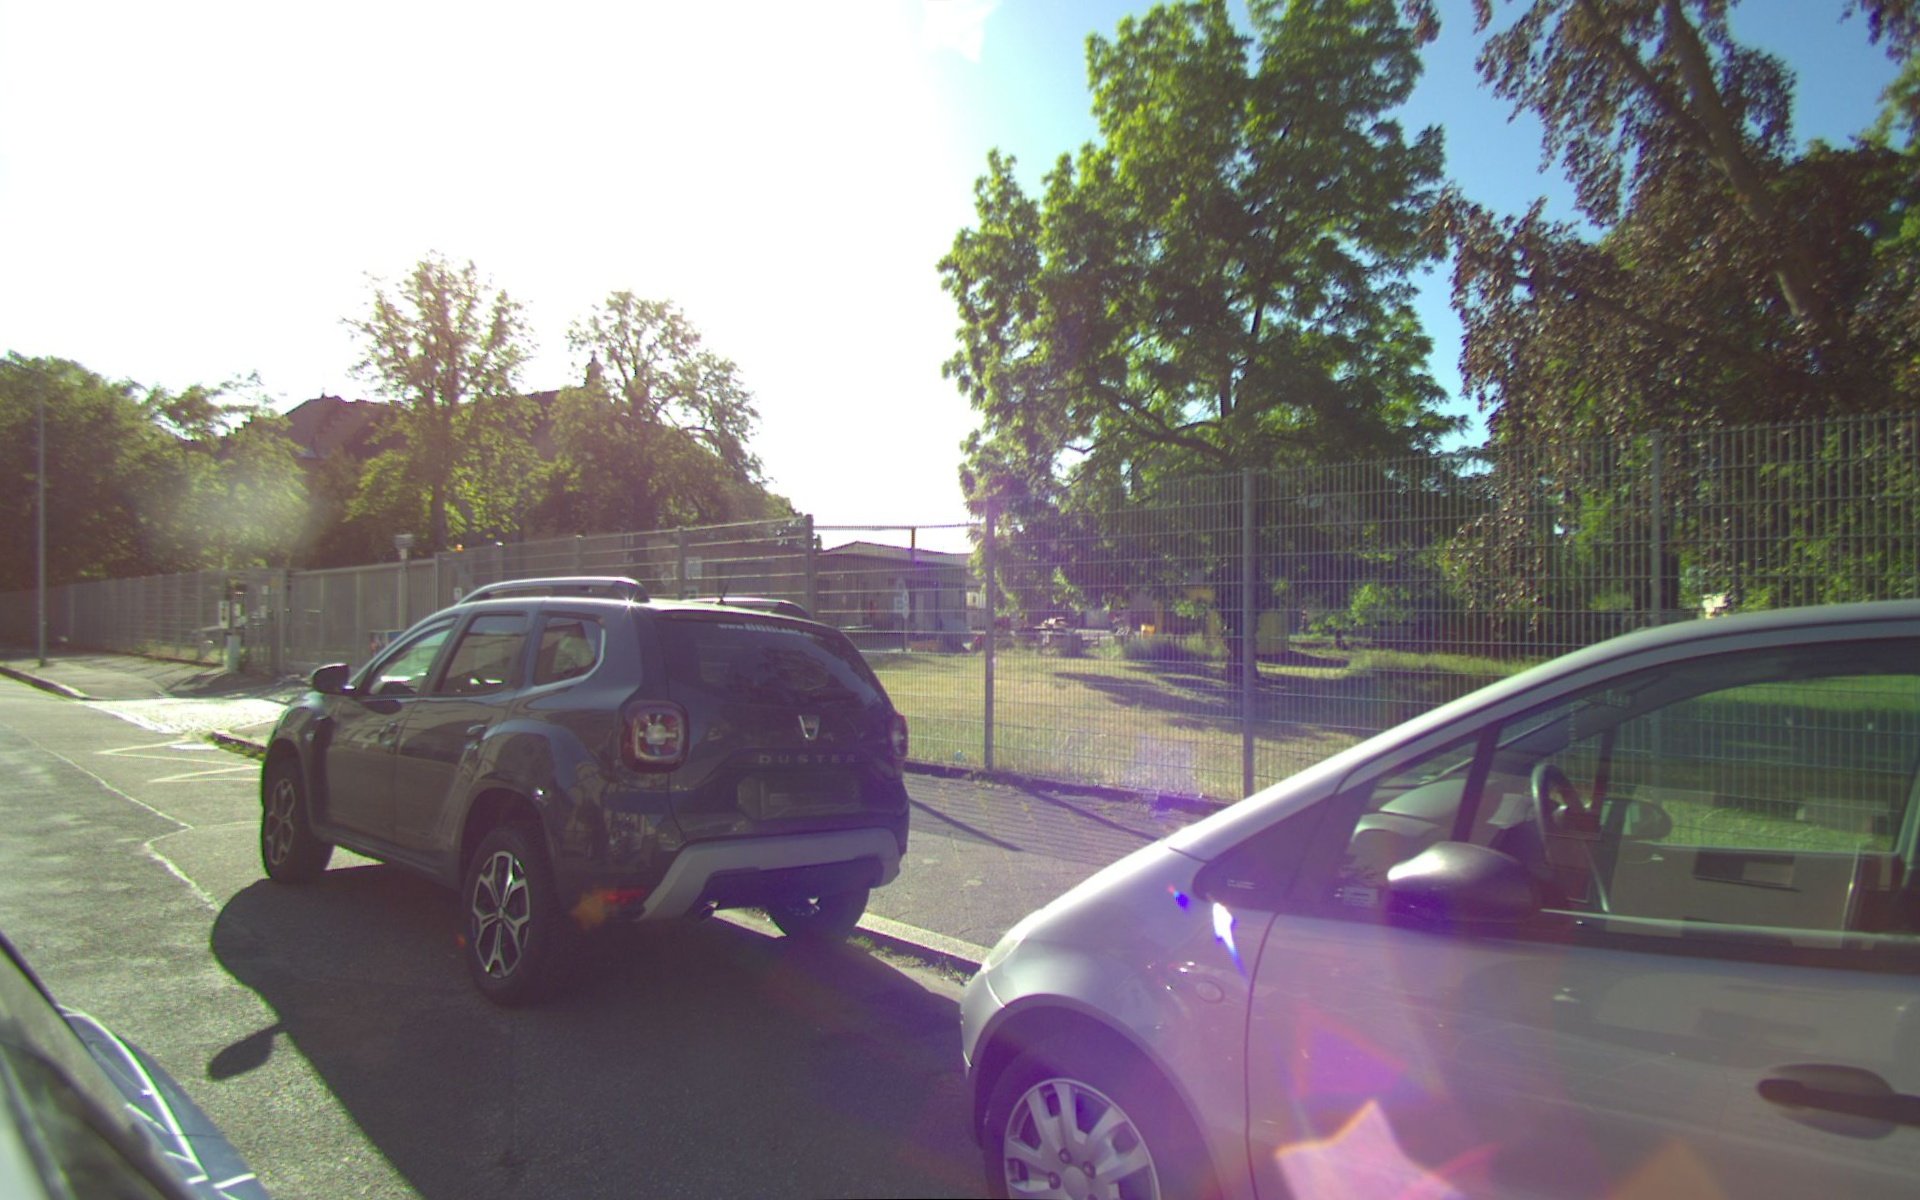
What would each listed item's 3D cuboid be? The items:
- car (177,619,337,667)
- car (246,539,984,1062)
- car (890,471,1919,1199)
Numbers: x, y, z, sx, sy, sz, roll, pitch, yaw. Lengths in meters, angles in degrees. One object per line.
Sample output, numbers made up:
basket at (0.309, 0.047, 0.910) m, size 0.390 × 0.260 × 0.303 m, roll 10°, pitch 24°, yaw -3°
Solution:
car at (-22.990, 1.353, 33.191) m, size 1.998 × 1.431 × 3.947 m, roll 0°, pitch -1°, yaw 40°
car at (-2.041, 0.695, 5.278) m, size 4.162 × 1.676 × 1.694 m, roll 0°, pitch -4°, yaw 41°
car at (1.730, 0.709, 1.928) m, size 3.613 × 1.656 × 1.547 m, roll 0°, pitch -4°, yaw 41°
